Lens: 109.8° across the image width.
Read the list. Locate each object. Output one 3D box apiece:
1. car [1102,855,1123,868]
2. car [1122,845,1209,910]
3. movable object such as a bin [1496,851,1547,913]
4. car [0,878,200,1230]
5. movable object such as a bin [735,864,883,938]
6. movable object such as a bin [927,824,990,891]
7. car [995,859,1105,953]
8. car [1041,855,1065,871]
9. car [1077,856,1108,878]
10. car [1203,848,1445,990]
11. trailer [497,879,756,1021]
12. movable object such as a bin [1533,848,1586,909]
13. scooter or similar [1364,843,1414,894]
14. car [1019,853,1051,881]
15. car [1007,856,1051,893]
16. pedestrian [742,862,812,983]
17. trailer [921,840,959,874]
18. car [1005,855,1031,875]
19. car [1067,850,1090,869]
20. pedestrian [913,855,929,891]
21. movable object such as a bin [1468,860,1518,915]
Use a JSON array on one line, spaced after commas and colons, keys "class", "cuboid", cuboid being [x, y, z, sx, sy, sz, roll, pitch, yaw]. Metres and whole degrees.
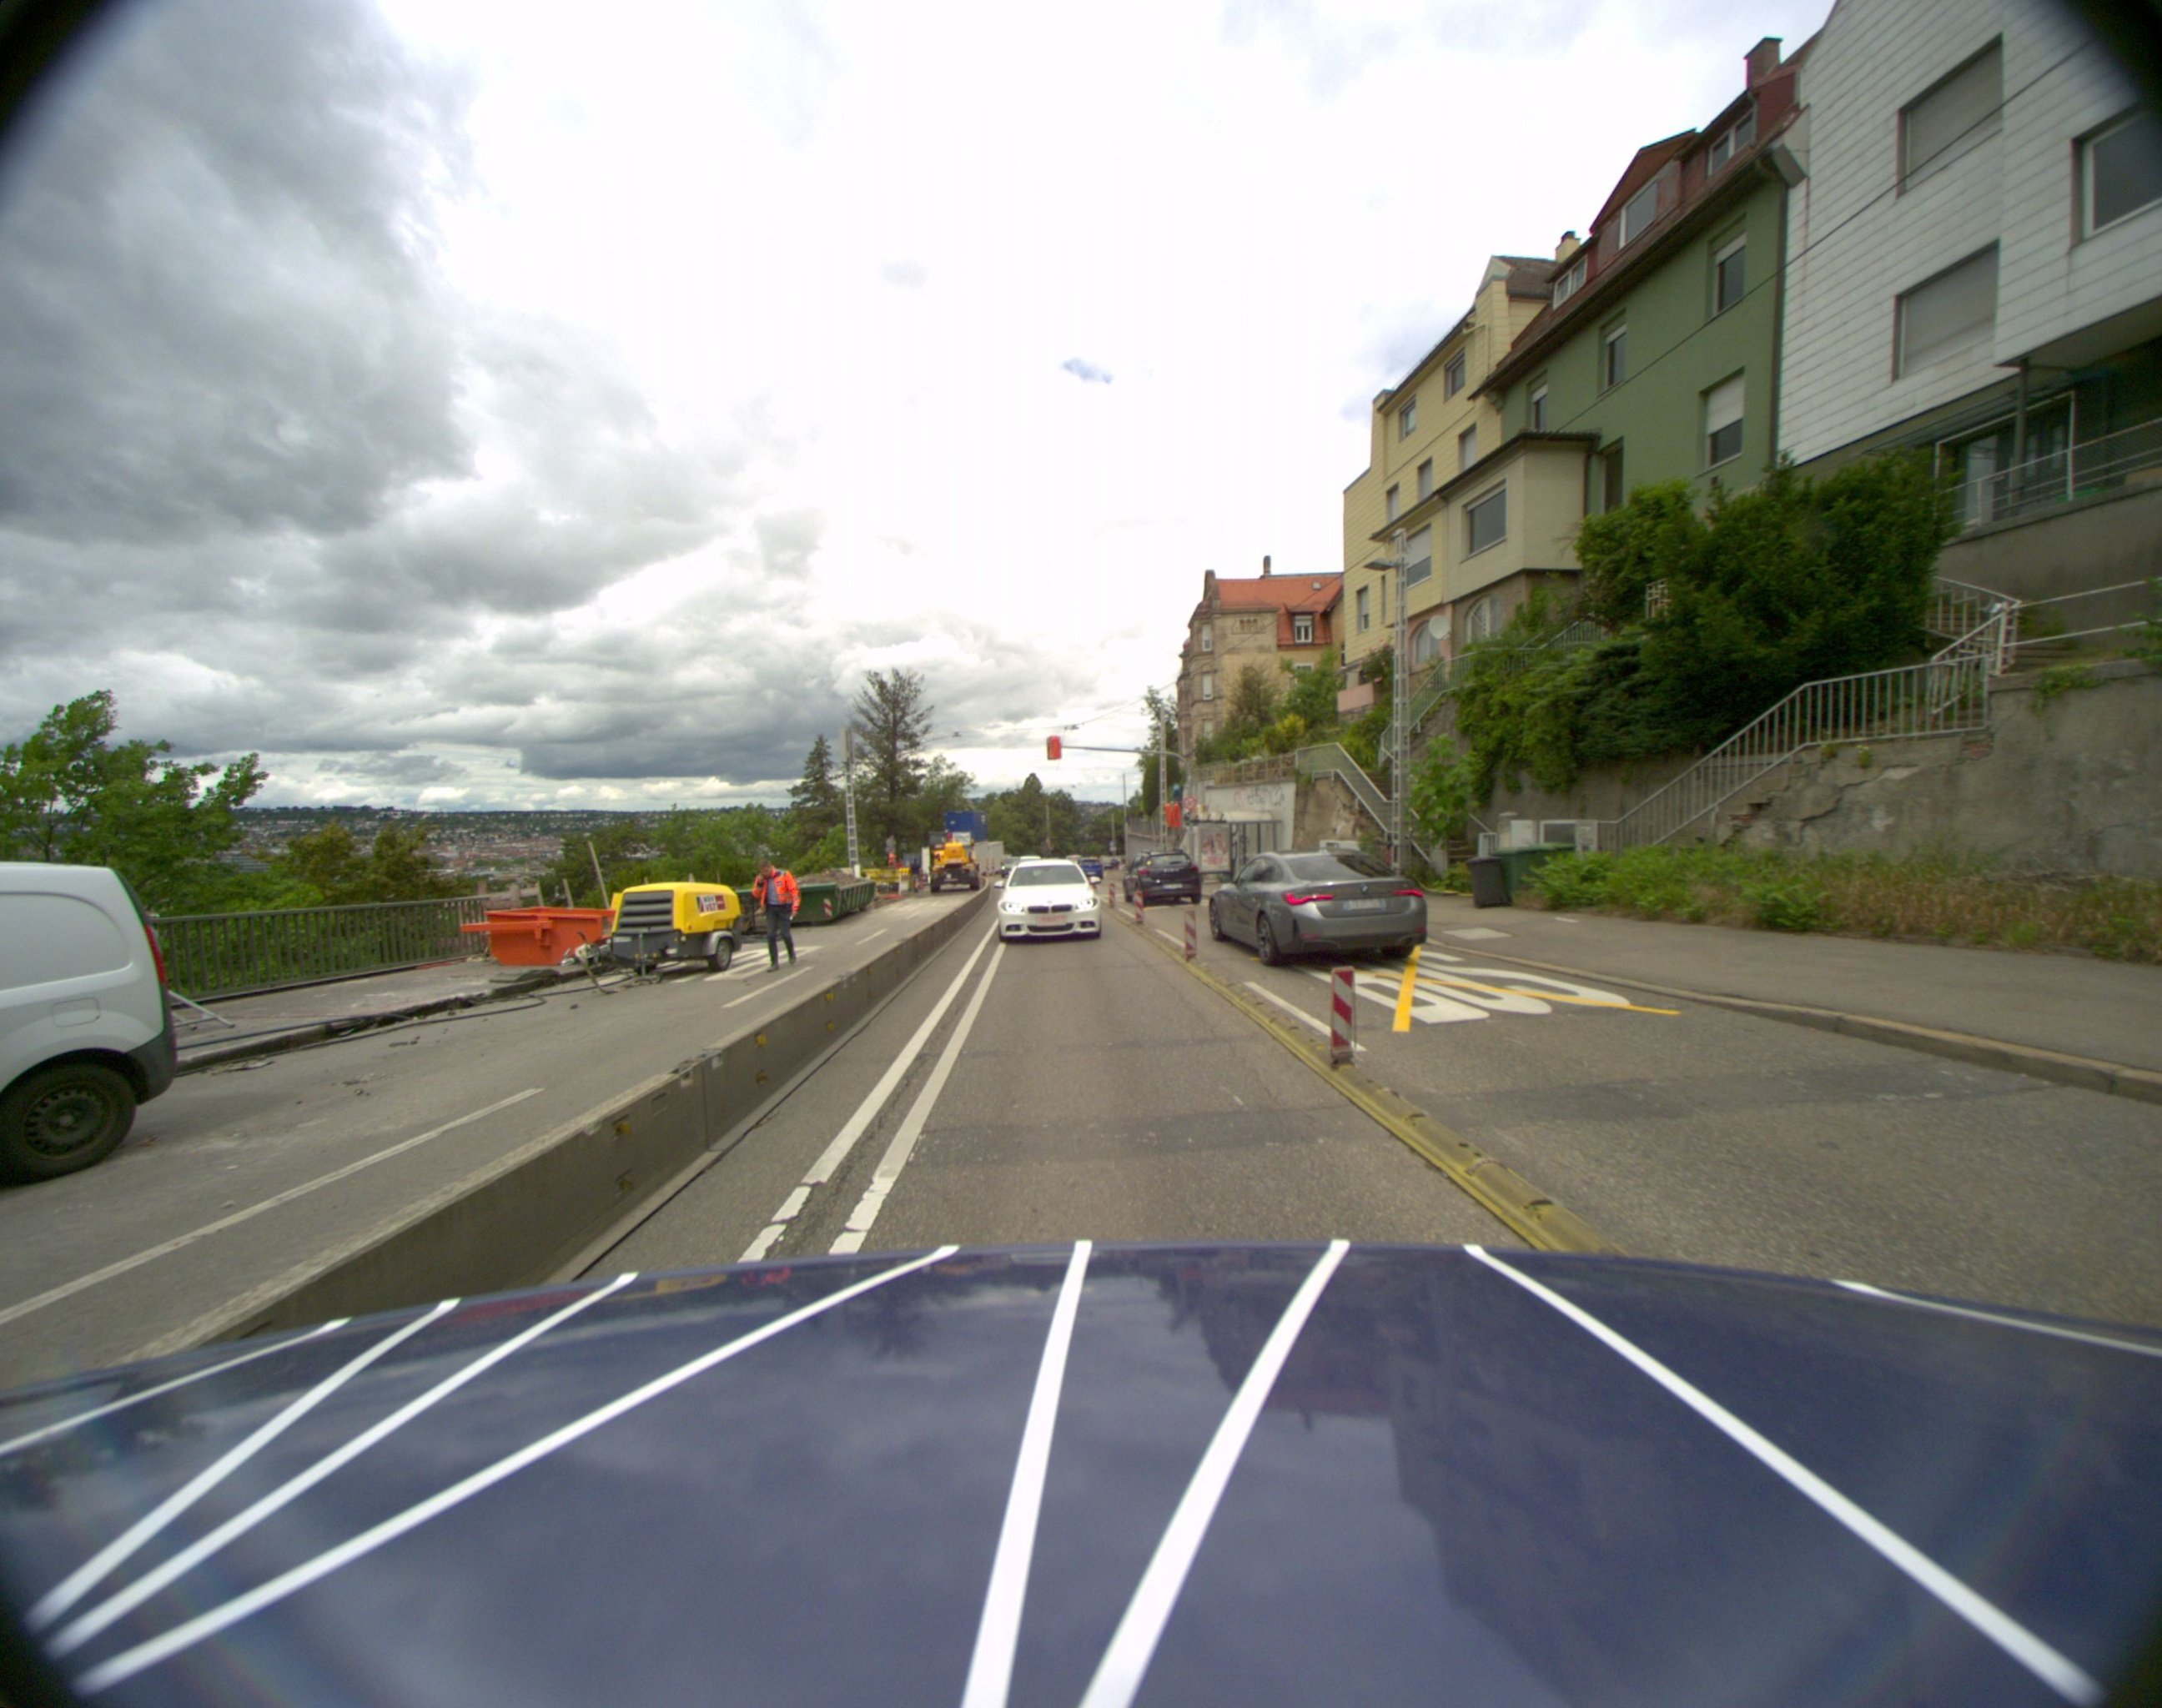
[{"class": "car", "cuboid": [3.570, 0.844, 85.288, 1.802, 1.365, 4.392, 1, 0, 11]}, {"class": "car", "cuboid": [2.358, 0.624, 22.236, 1.820, 1.613, 3.817, -3, 0, -3]}, {"class": "movable object such as a bin", "cuboid": [7.891, 0.488, 13.625, 0.469, 1.047, 0.624, -4, 1, -5]}, {"class": "car", "cuboid": [-6.450, 1.068, 2.594, 1.837, 1.769, 4.268, -2, 0, 0]}, {"class": "movable object such as a bin", "cuboid": [-7.479, 1.172, 21.904, 2.381, 1.552, 7.094, -3, 0, -6]}, {"class": "movable object such as a bin", "cuboid": [-6.381, 0.167, 39.882, 2.820, 3.053, 7.817, -3, 0, -9]}, {"class": "car", "cuboid": [-0.573, 0.898, 15.071, 1.792, 1.472, 4.244, -3, 0, -1]}, {"class": "car", "cuboid": [-2.871, 0.932, 78.466, 1.797, 1.501, 4.002, 1, 1, 7]}, {"class": "car", "cuboid": [0.713, 0.859, 50.827, 1.731, 1.411, 3.820, -2, -1, -4]}, {"class": "car", "cuboid": [3.092, 0.716, 10.713, 1.800, 1.473, 4.327, -4, 1, -2]}, {"class": "trailer", "cuboid": [-6.053, 1.179, 10.638, 1.291, 1.466, 3.634, -3, 0, 2]}, {"class": "movable object such as a bin", "cuboid": [8.606, 0.437, 13.679, 0.469, 1.047, 0.624, -4, 1, -5]}, {"class": "scooter or similar", "cuboid": [7.760, 0.355, 19.215, 0.461, 1.198, 1.434, -4, 1, -7]}, {"class": "car", "cuboid": [-2.782, 0.749, 45.706, 1.793, 1.542, 4.243, -1, 0, -4]}, {"class": "car", "cuboid": [-2.278, 0.864, 34.079, 1.792, 1.472, 4.243, -3, 0, -3]}, {"class": "pedestrian", "cuboid": [-4.494, 0.980, 11.282, 0.647, 1.692, 0.850, -3, 1, -5]}, {"class": "trailer", "cuboid": [-11.186, 0.220, 60.520, 2.112, 2.535, 5.118, 0, 0, -1]}, {"class": "car", "cuboid": [-4.999, 0.853, 60.751, 1.799, 1.501, 3.999, 1, 1, -1]}, {"class": "car", "cuboid": [-0.265, 0.462, 67.115, 1.847, 1.590, 4.262, -2, 0, -1]}, {"class": "pedestrian", "cuboid": [-8.226, 0.977, 39.097, 0.691, 1.784, 0.539, -2, 0, -17]}, {"class": "movable object such as a bin", "cuboid": [7.367, 0.588, 13.599, 0.469, 0.929, 0.624, -4, 1, -5]}]
